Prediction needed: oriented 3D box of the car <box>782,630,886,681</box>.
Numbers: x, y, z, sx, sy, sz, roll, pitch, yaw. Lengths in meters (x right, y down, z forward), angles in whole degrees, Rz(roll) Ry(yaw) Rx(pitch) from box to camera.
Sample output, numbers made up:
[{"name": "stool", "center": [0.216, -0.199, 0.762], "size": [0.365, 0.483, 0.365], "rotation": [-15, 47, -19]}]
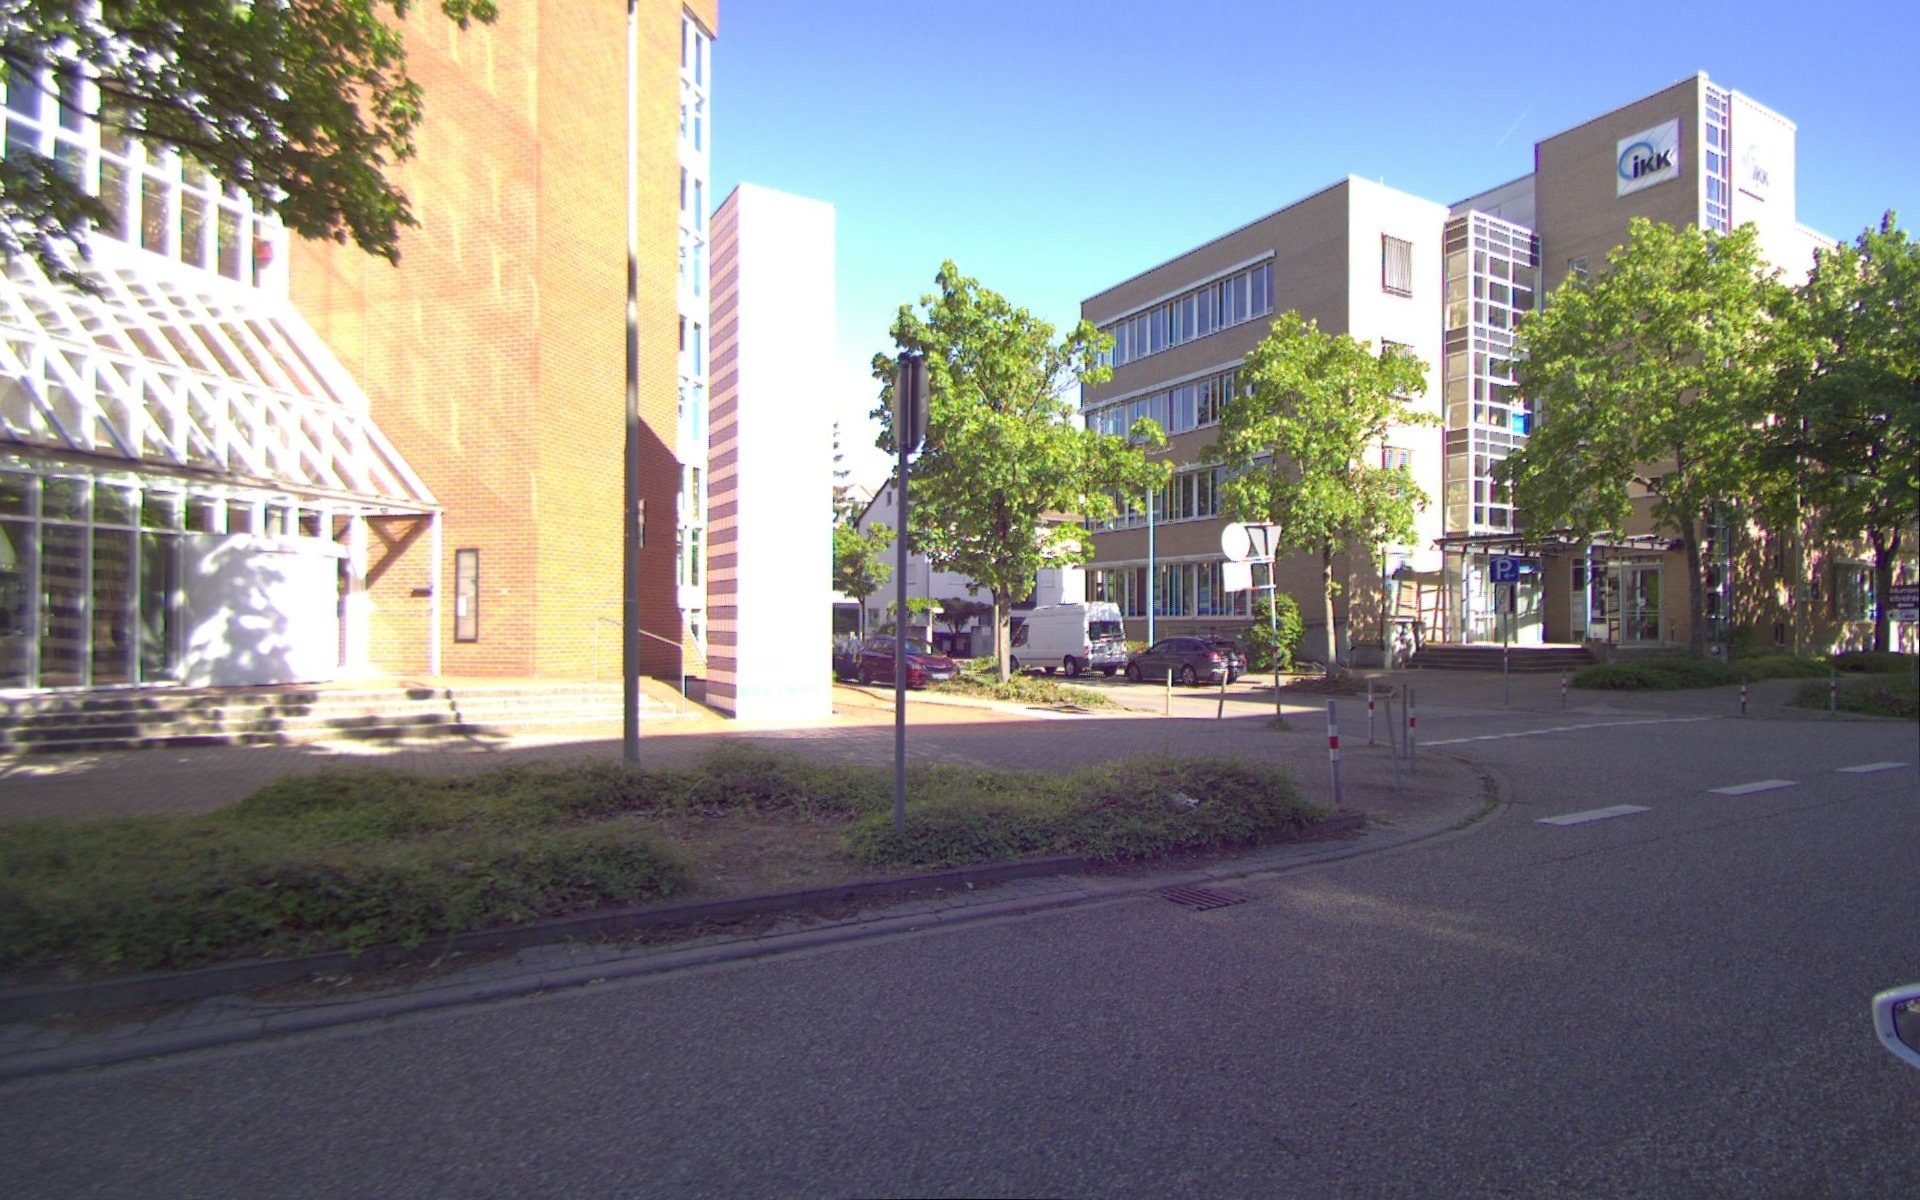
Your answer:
[{"name": "car", "center": [-4.268, 1.856, 33.486], "size": [1.976, 1.496, 4.174], "rotation": [4, -5, -29]}]

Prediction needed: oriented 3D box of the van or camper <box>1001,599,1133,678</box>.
[{"name": "van or camper", "center": [3.855, 1.408, 37.375], "size": [2.155, 2.710, 5.344], "rotation": [-1, -1, -30]}]

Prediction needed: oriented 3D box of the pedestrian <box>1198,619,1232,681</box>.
[{"name": "pedestrian", "center": [8.439, 1.645, 33.222], "size": [0.806, 2.040, 0.777], "rotation": [1, -2, -38]}]

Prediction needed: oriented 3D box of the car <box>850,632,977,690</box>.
[{"name": "car", "center": [-1.428, 1.762, 29.139], "size": [1.976, 1.496, 4.174], "rotation": [4, -5, -29]}]

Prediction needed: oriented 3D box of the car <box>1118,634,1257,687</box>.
[{"name": "car", "center": [7.041, 1.835, 31.487], "size": [1.976, 1.496, 4.174], "rotation": [-1, -1, -29]}]
